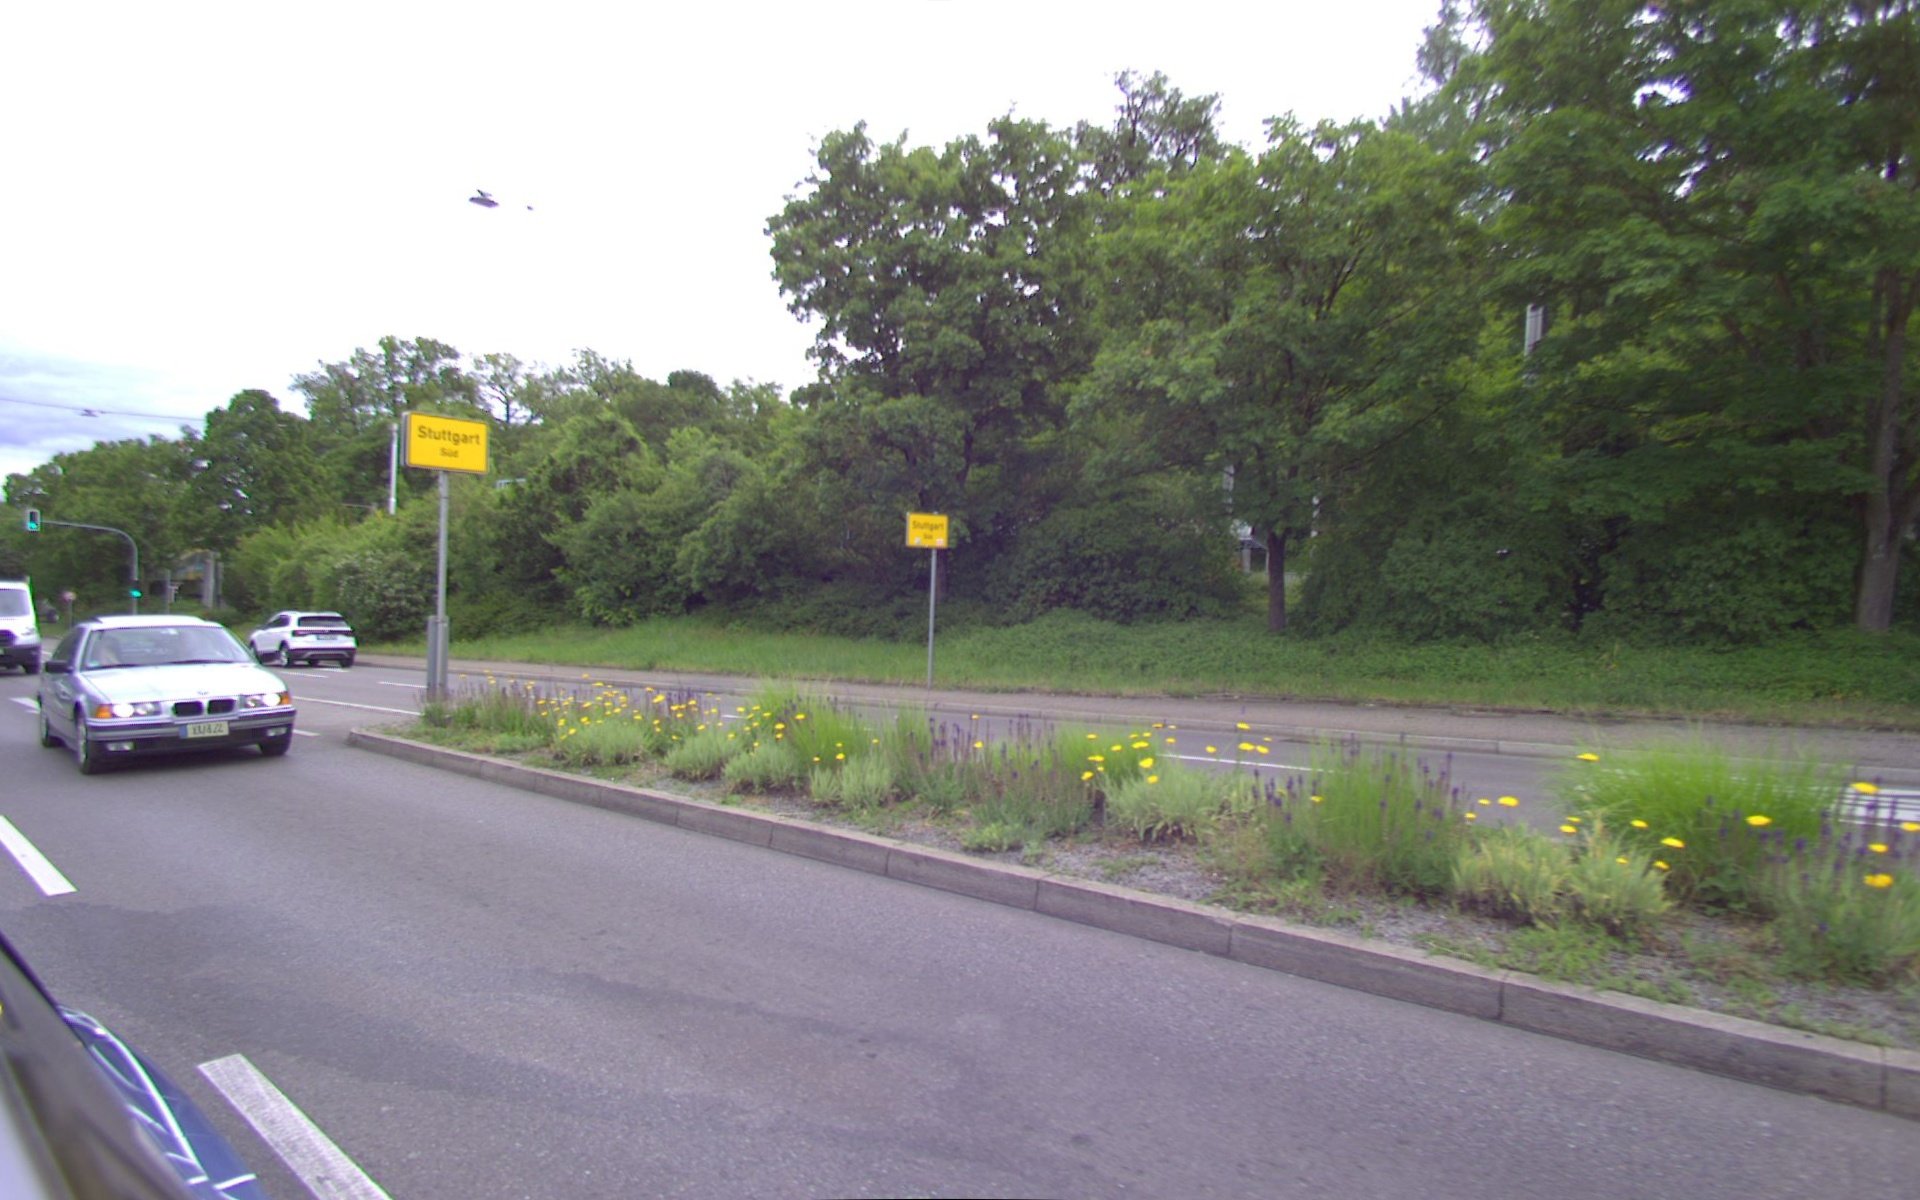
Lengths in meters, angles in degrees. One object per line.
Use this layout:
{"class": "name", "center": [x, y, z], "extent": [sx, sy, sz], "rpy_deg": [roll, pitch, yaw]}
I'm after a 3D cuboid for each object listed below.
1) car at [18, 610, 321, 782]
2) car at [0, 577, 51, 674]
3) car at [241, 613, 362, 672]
{"class": "car", "center": [-8.343, 0.831, 10.512], "extent": [4.614, 1.404, 1.734], "rpy_deg": [-1, -2, 43]}
{"class": "car", "center": [-23.956, 0.588, 24.269], "extent": [6.663, 2.142, 2.225], "rpy_deg": [-1, -1, 39]}
{"class": "car", "center": [-19.038, 1.174, 29.216], "extent": [4.037, 1.552, 1.712], "rpy_deg": [-1, -1, 38]}
